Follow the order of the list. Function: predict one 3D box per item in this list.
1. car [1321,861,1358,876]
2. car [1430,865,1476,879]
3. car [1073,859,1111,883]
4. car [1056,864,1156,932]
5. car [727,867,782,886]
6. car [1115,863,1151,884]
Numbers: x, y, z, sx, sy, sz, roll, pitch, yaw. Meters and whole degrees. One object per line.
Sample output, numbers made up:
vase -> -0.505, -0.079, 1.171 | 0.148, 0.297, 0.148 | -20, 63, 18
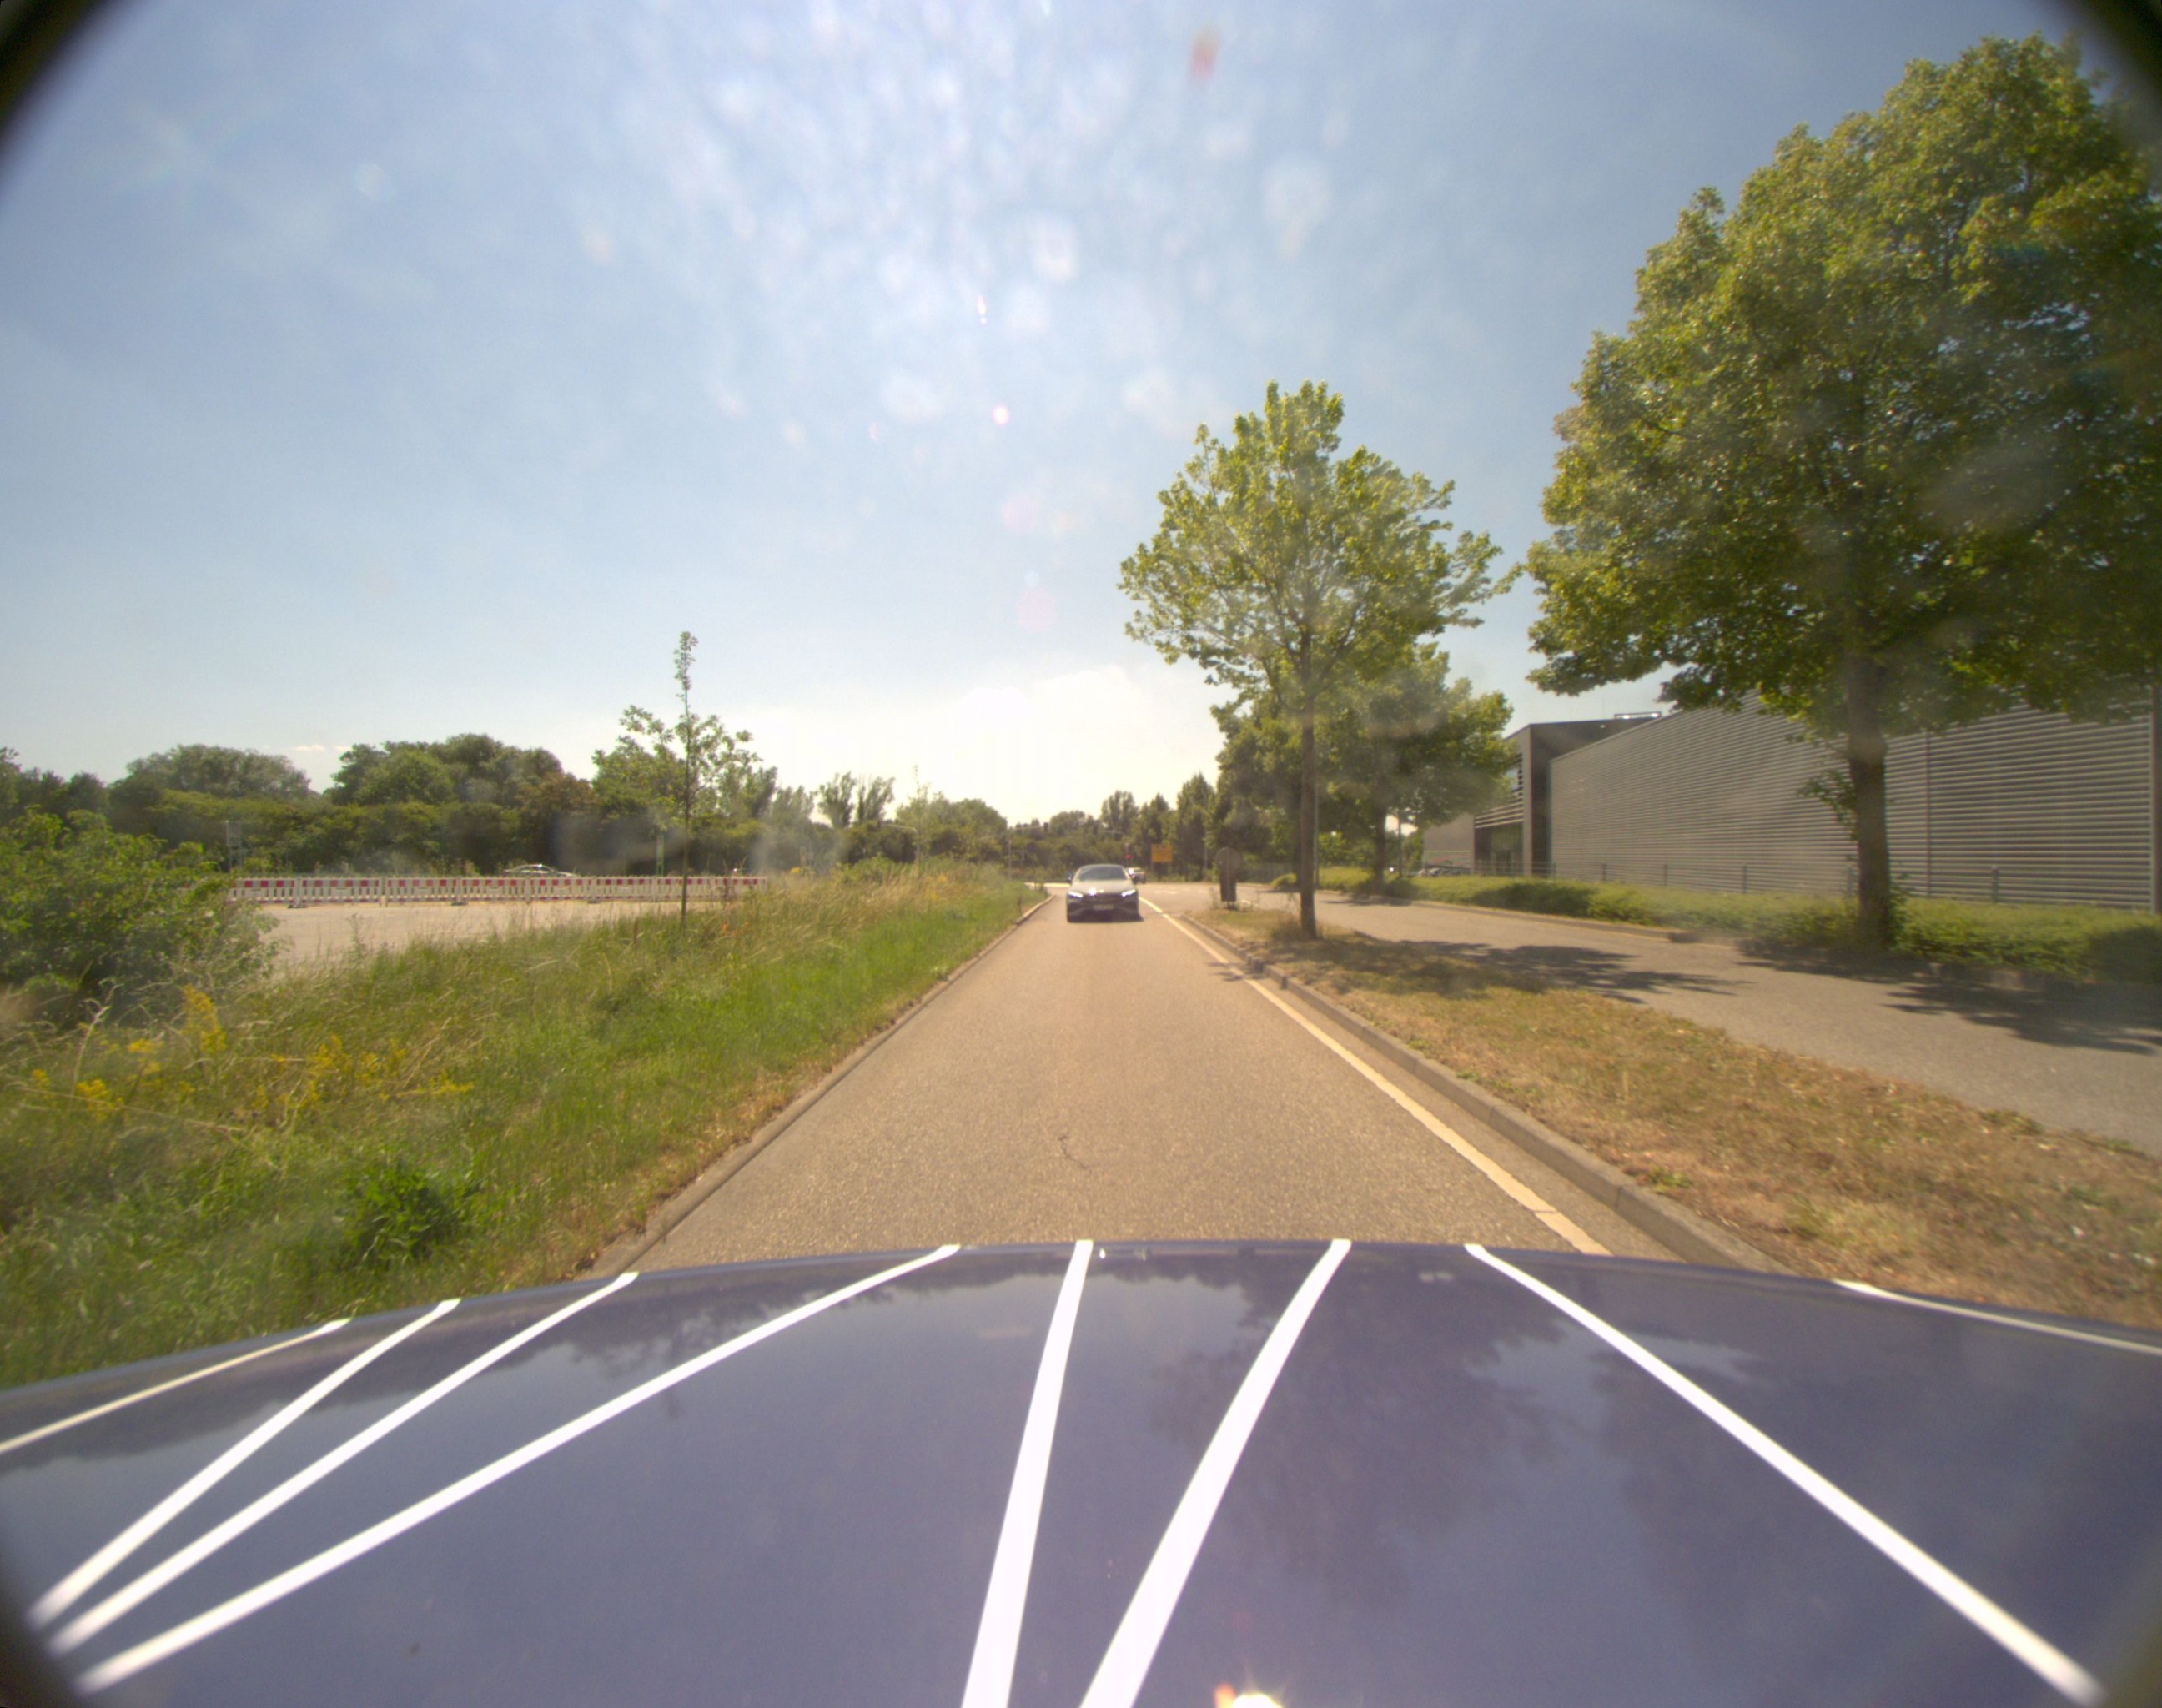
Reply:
car -> 31.581, 1.757, 92.910 | 3.993, 1.695, 2.003 | 0, -2, 13
car -> 39.197, 1.916, 80.204 | 3.993, 1.476, 2.003 | 0, -3, 13
car -> 0.957, 1.549, 69.573 | 2.001, 1.932, 4.864 | -4, 1, -16
car -> 0.786, 1.058, 19.794 | 1.920, 1.433, 4.485 | -4, -1, 10
car -> -28.418, 1.977, 66.279 | 4.009, 1.629, 1.777 | 3, -3, -42
car -> 4.821, 1.828, 71.091 | 2.001, 1.697, 3.859 | -4, 1, -16
